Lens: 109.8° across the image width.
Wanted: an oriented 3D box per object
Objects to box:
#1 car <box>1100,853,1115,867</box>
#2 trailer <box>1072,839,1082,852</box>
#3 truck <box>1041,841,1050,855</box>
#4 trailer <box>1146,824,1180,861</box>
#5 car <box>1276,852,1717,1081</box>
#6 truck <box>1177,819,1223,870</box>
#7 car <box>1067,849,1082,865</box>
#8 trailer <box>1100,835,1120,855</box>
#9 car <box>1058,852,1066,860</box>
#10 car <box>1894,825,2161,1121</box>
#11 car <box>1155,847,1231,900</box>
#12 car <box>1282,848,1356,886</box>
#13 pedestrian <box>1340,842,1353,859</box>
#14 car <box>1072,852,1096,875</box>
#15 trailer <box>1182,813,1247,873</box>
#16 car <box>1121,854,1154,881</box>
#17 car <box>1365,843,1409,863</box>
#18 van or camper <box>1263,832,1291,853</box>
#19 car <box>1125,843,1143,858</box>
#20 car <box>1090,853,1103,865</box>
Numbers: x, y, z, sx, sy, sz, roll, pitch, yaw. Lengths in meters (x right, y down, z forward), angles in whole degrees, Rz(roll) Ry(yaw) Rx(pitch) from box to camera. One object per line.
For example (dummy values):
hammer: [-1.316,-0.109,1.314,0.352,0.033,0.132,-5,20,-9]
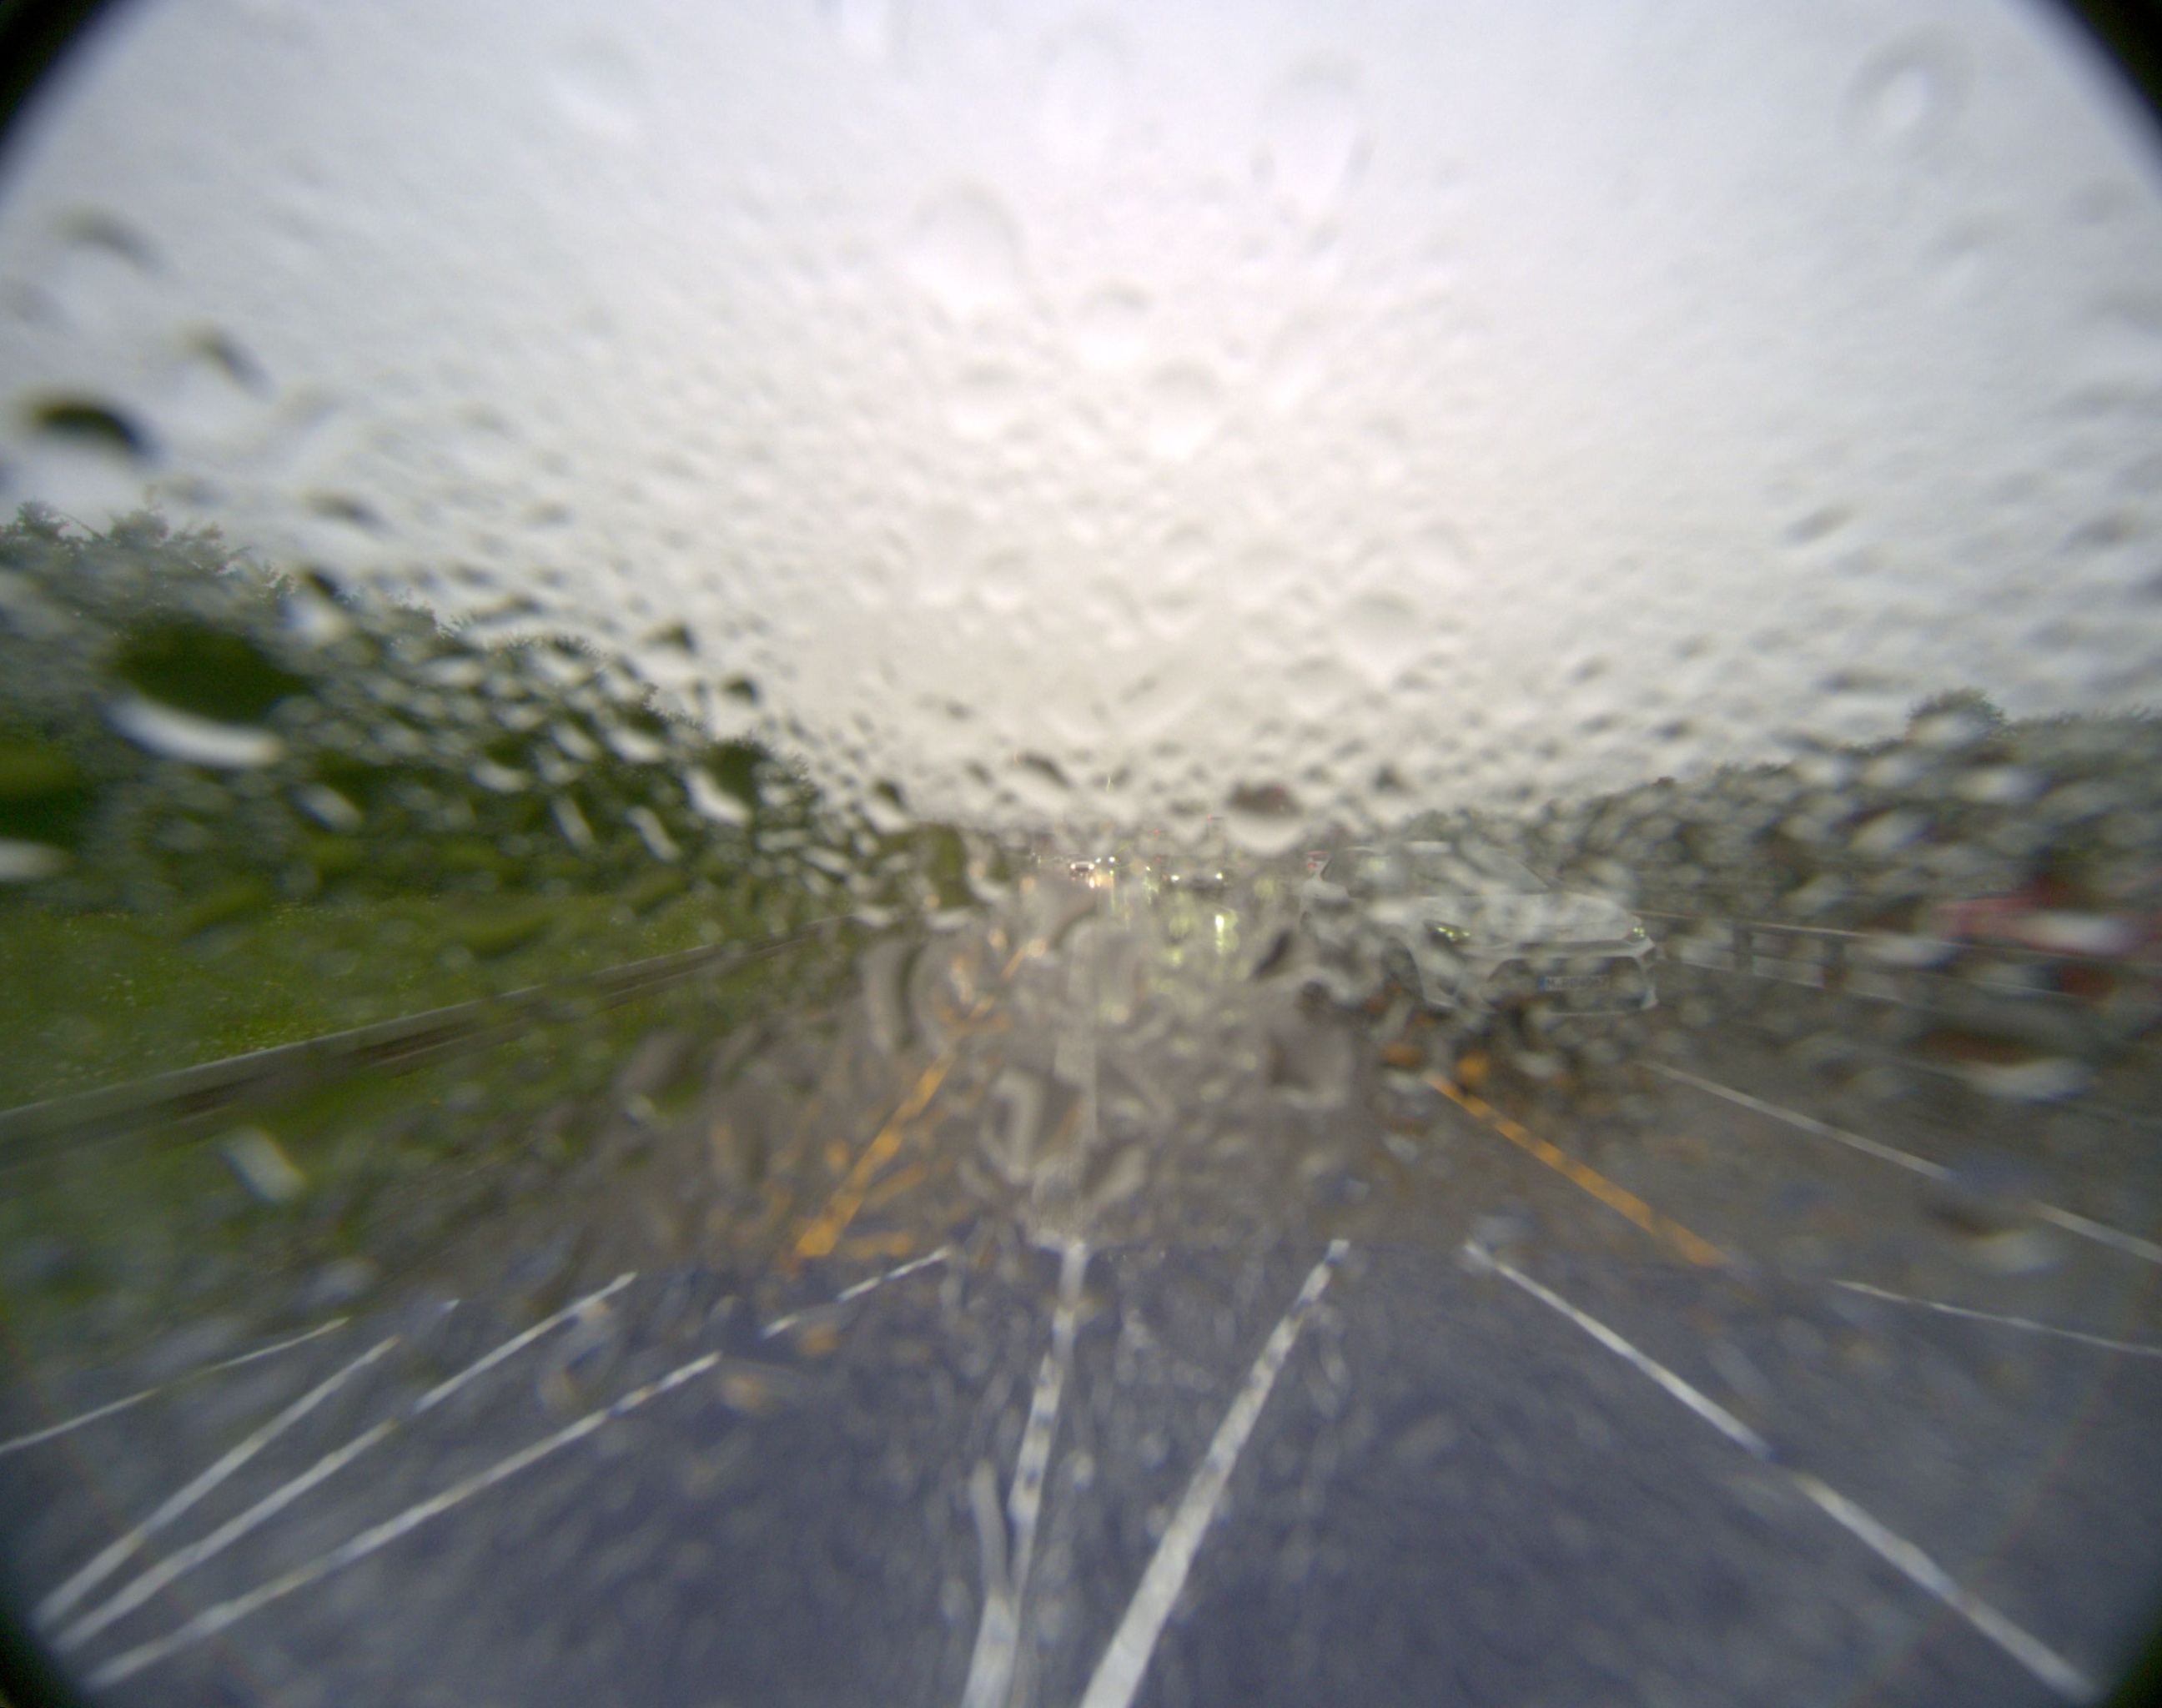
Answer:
car: [3.098,0.665,90.237,1.589,1.528,3.831,-1,1,0]
trailer: [-1.258,-2.667,237.137,2.620,3.984,11.923,-3,1,-2]
truck: [-11.049,-1.962,236.572,2.507,4.067,15.196,-3,1,-2]
trailer: [9.746,-1.324,91.592,2.500,4.026,12.585,-1,0,0]
car: [3.554,0.787,7.827,1.932,1.542,5.007,-1,1,2]
truck: [10.049,-0.751,64.852,2.891,4.077,6.926,-1,0,1]
car: [-0.800,0.357,91.124,1.673,1.804,3.999,-1,1,-2]
trailer: [6.032,-1.864,157.637,2.607,4.054,12.425,-2,1,-4]
car: [-4.091,0.402,161.362,1.673,1.804,3.999,-1,1,-2]
car: [6.836,0.651,3.452,1.806,1.584,4.183,-3,1,1]
car: [3.762,0.605,26.465,2.069,1.618,5.196,-2,0,2]
car: [10.516,0.535,33.940,1.998,1.497,4.296,-2,1,1]
pedestrian: [32.531,-0.467,92.996,1.108,2.002,1.125,-3,1,-4]
car: [0.224,0.768,63.803,1.881,1.772,3.999,-1,1,-2]
trailer: [9.989,-0.752,58.386,2.914,4.065,12.220,-1,0,1]
car: [3.514,0.821,47.953,1.792,1.480,3.999,-3,1,0]
car: [30.459,-0.120,75.894,2.099,1.955,5.364,-2,0,-1]
van or camper: [43.399,-2.489,168.383,3.376,4.299,8.503,-3,1,-3]
car: [6.939,-0.476,100.044,1.998,1.873,4.433,-1,0,1]
car: [2.344,0.753,113.047,1.673,1.804,3.999,-1,1,-2]
